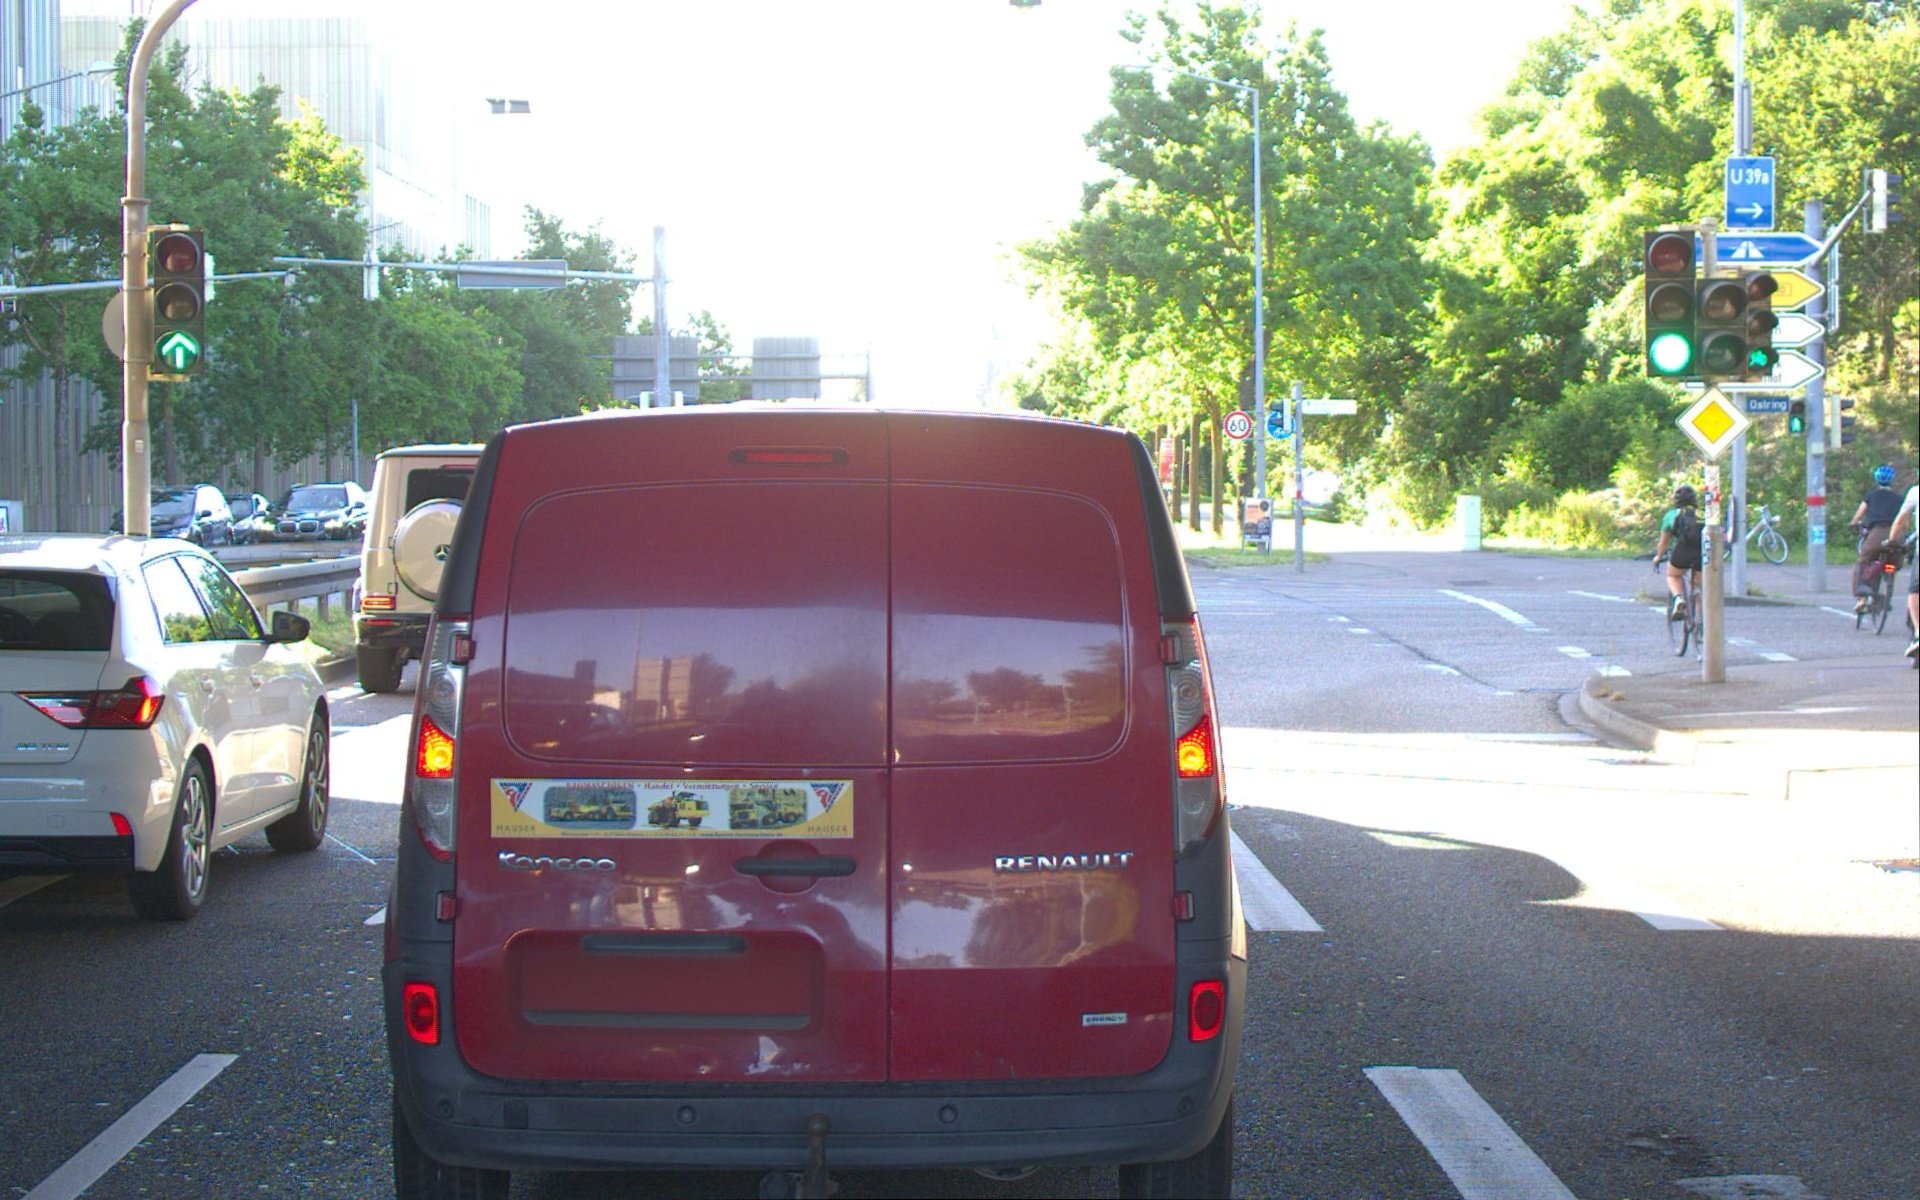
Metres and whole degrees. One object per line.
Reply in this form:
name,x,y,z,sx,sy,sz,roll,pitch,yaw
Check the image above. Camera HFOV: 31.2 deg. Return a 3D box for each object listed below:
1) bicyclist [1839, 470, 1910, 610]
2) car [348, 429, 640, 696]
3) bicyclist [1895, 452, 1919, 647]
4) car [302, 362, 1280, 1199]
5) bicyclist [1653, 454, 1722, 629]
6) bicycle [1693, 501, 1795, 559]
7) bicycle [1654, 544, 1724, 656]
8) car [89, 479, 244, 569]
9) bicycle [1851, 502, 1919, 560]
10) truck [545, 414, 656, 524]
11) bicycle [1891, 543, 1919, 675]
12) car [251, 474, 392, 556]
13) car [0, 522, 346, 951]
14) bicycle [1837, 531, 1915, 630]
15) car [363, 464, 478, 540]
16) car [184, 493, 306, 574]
bicyclist,9.725,-0.636,36.580,0.665,1.469,0.751,1,0,12
car,-3.724,-0.306,28.184,1.801,1.982,4.589,1,1,-1
bicyclist,7.829,-0.400,27.505,0.592,1.543,0.769,1,0,11
car,-0.339,0.444,8.421,1.805,1.788,4.000,1,1,-1
bicyclist,6.821,-0.543,32.247,0.592,1.608,0.942,1,0,11
bicycle,14.203,-1.266,62.323,1.745,1.020,0.593,1,0,9
bicycle,6.829,-0.006,32.256,0.592,1.020,1.749,1,1,11
car,-16.417,-1.594,71.336,1.825,1.731,4.629,-2,2,4
bicycle,16.724,-1.217,60.908,1.745,1.020,0.593,1,0,9
truck,-10.469,-3.803,100.656,2.409,3.016,6.657,-2,2,0
bicycle,7.837,0.068,27.523,0.592,1.020,1.749,1,1,11
car,-13.542,-1.823,73.126,1.825,1.620,4.529,-2,2,4
car,-3.679,0.428,13.699,1.813,1.433,3.731,0,2,0
bicycle,9.758,-0.207,36.678,0.672,1.020,2.054,1,1,12
car,-10.986,-2.007,70.232,1.636,1.438,4.077,-2,2,0
car,-16.411,-1.548,79.096,1.824,1.731,4.530,-2,2,0
